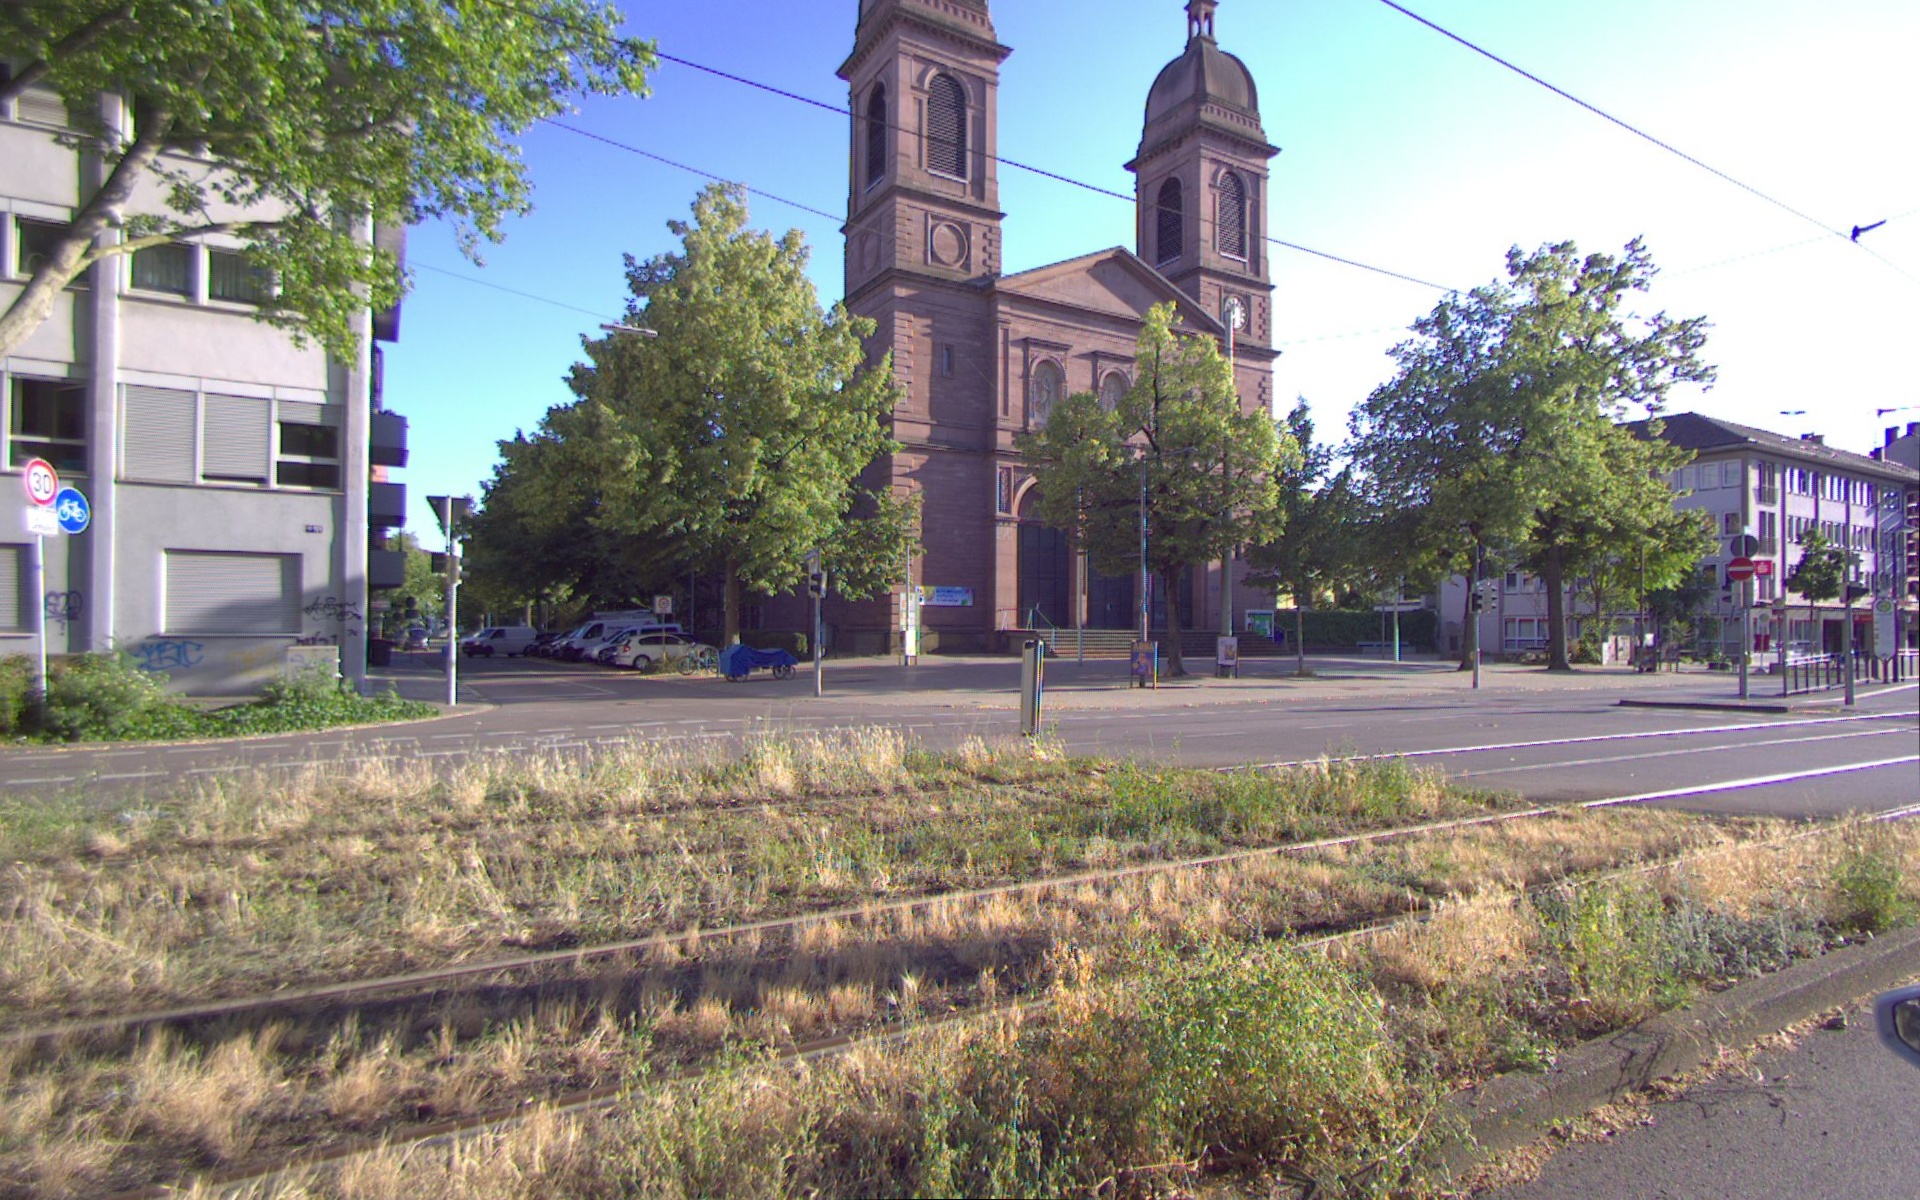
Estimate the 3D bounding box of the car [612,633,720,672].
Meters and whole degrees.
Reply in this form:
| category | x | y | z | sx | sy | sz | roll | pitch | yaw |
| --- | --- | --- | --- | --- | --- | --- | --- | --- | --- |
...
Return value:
| category | x | y | z | sx | sy | sz | roll | pitch | yaw |
| --- | --- | --- | --- | --- | --- | --- | --- | --- | --- |
| car | -12.227 | 2.174 | 41.831 | 3.953 | 1.479 | 1.984 | 2 | 0 | -30 |

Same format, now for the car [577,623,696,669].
| category | x | y | z | sx | sy | sz | roll | pitch | yaw |
| --- | --- | --- | --- | --- | --- | --- | --- | --- | --- |
| car | -15.523 | 2.172 | 48.325 | 5.121 | 2.040 | 1.981 | 2 | 0 | -34 |

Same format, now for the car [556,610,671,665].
| category | x | y | z | sx | sy | sz | roll | pitch | yaw |
| --- | --- | --- | --- | --- | --- | --- | --- | --- | --- |
| car | -18.295 | 1.956 | 53.119 | 5.382 | 2.710 | 1.980 | 2 | 0 | -36 |

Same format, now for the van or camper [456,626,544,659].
| category | x | y | z | sx | sy | sz | roll | pitch | yaw |
| --- | --- | --- | --- | --- | --- | --- | --- | --- | --- |
| van or camper | -29.964 | 2.768 | 65.582 | 1.963 | 2.040 | 5.129 | 0 | -2 | 27 |

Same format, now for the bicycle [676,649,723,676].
| category | x | y | z | sx | sy | sz | roll | pitch | yaw |
| --- | --- | --- | --- | --- | --- | --- | --- | --- | --- |
| bicycle | -9.062 | 2.160 | 34.971 | 1.517 | 0.904 | 0.465 | 2 | 0 | -27 |

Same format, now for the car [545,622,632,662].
| category | x | y | z | sx | sy | sz | roll | pitch | yaw |
| --- | --- | --- | --- | --- | --- | --- | --- | --- | --- |
| car | -20.424 | 2.298 | 55.277 | 4.174 | 2.040 | 1.981 | 2 | 0 | -34 |

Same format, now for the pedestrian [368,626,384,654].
| category | x | y | z | sx | sy | sz | roll | pitch | yaw |
| --- | --- | --- | --- | --- | --- | --- | --- | --- | --- |
| pedestrian | -36.905 | 2.531 | 63.481 | 0.633 | 1.774 | 0.685 | -1 | -2 | 40 |

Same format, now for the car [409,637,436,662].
| category | x | y | z | sx | sy | sz | roll | pitch | yaw |
| --- | --- | --- | --- | --- | --- | --- | --- | --- | --- |
| car | -45.769 | 4.189 | 85.481 | 1.976 | 2.040 | 3.970 | 1 | -2 | -29 |

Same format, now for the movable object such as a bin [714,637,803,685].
| category | x | y | z | sx | sy | sz | roll | pitch | yaw |
| --- | --- | --- | --- | --- | --- | --- | --- | --- | --- |
| movable object such as a bin | -6.154 | 1.829 | 30.721 | 2.416 | 1.228 | 1.102 | -3 | 2 | -30 |

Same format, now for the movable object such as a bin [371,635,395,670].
| category | x | y | z | sx | sy | sz | roll | pitch | yaw |
| --- | --- | --- | --- | --- | --- | --- | --- | --- | --- |
| movable object such as a bin | -22.303 | 2.024 | 38.816 | 0.737 | 1.323 | 0.865 | 1 | -2 | -32 |
